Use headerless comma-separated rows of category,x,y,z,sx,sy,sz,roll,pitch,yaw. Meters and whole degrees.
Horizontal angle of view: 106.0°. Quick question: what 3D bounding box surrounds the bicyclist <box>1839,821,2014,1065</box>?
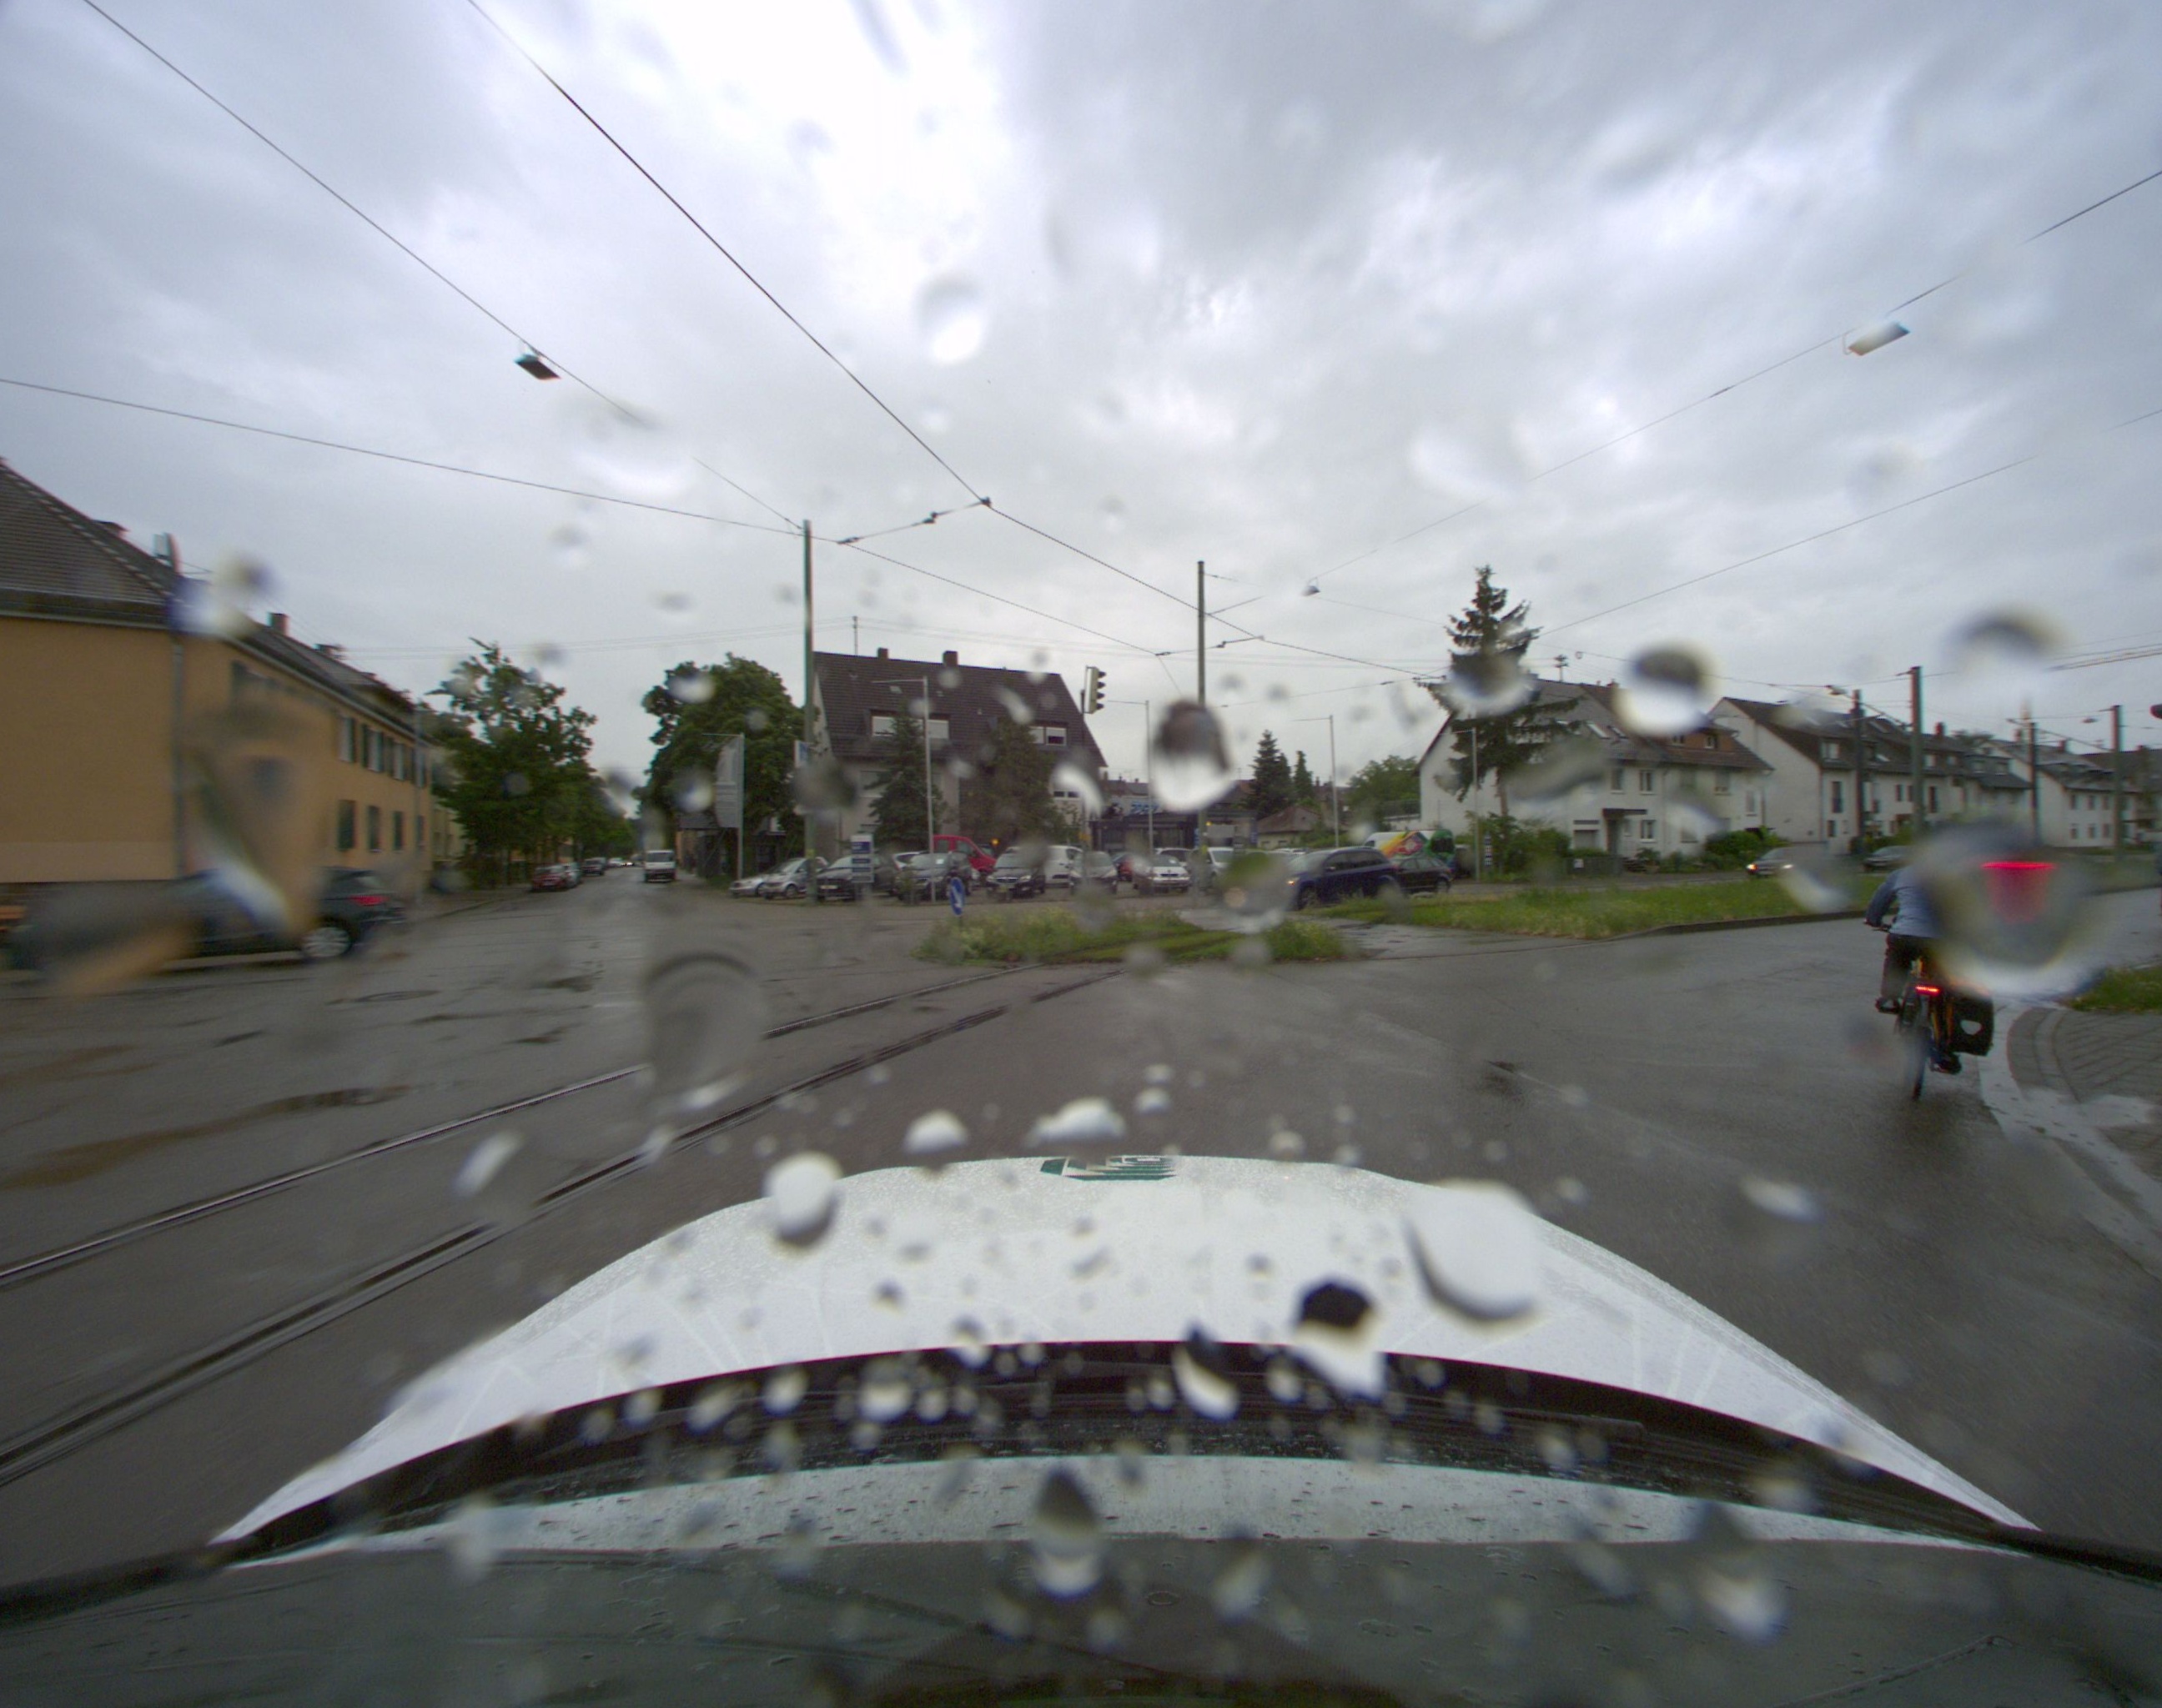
bicyclist,5.719,0.537,5.519,0.851,1.485,0.744,-2,0,-42

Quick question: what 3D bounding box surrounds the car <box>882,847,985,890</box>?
car,-6.007,0.592,33.562,3.961,1.598,1.996,-1,-1,-7

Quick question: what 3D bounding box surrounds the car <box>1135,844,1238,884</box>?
car,4.892,0.459,37.646,4.453,1.687,1.746,-1,-1,-24

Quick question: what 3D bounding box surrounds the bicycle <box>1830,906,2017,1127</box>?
bicycle,5.697,0.971,5.490,1.937,1.073,0.746,-2,0,-42

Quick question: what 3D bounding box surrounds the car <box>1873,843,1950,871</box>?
car,45.856,0.186,44.959,4.675,1.424,1.592,1,-1,-26

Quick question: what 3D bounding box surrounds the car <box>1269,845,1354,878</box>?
car,10.288,0.332,36.597,1.724,1.396,3.813,1,-1,-23

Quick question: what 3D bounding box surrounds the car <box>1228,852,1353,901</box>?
car,6.732,0.725,26.208,3.649,1.504,1.709,1,-1,-25

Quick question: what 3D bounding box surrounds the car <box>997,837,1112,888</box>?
car,-1.121,0.334,34.763,4.453,2.014,1.984,-1,-1,-24

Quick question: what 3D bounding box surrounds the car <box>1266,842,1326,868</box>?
car,13.814,0.048,52.189,1.771,1.580,4.474,-2,-1,42

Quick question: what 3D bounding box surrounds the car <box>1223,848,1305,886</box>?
car,7.931,0.576,35.572,1.724,1.573,3.590,1,-1,-22

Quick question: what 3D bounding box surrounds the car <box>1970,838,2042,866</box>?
car,49.906,-0.072,43.946,3.826,1.424,1.592,1,-1,-26

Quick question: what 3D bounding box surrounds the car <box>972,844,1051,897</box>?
car,-2.382,0.555,29.001,1.983,1.717,4.008,-2,0,7

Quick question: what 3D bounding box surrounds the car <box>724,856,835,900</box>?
car,-12.414,0.951,33.646,1.785,1.578,3.895,-2,0,44

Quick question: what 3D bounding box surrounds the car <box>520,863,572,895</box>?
car,-28.914,1.322,44.126,2.005,1.618,3.963,-1,-1,-28

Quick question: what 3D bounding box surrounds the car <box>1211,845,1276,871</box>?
car,9.868,0.250,49.624,1.792,1.498,3.963,1,-1,-29

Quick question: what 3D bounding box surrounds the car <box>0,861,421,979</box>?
car,-13.084,0.899,12.684,4.010,1.476,1.982,-1,0,-28

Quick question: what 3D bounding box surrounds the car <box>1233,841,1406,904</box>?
car,6.680,0.527,22.759,4.583,1.605,1.982,1,-1,-28

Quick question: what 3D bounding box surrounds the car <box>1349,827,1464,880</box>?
car,15.707,0.022,39.649,2.156,2.406,5.105,1,-1,-26

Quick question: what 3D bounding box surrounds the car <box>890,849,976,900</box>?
car,-5.031,0.647,28.190,1.792,1.578,3.879,-2,0,7

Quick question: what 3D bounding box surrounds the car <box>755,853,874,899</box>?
car,-10.112,0.792,31.106,1.785,1.578,3.895,-2,0,44

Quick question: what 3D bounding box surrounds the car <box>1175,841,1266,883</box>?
car,5.598,0.317,33.206,1.810,1.578,3.840,-2,0,-24

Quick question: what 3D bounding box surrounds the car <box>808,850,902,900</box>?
car,-7.791,0.678,28.477,1.792,1.578,3.879,-2,0,7

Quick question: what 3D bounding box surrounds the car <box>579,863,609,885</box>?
car,-44.768,1.823,74.988,2.004,2.014,3.965,1,-1,-26

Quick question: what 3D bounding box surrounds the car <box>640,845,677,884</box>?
car,-29.609,0.742,57.010,2.165,2.573,4.095,1,-1,-28

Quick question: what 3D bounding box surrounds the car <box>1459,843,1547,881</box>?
car,21.270,0.370,41.030,3.903,1.564,1.983,-4,2,-27

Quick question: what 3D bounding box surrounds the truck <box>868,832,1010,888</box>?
truck,-6.249,0.253,36.446,6.076,2.272,1.995,-1,-1,-7

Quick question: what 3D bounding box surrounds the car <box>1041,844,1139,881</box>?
car,0.462,0.430,40.500,4.453,1.687,1.984,-1,-1,-24

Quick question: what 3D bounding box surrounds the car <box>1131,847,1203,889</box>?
car,3.260,0.538,31.546,1.827,1.504,4.046,1,-1,-8

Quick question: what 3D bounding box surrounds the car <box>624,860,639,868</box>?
car,-91.554,2.064,165.939,1.844,1.697,3.983,2,-1,-43

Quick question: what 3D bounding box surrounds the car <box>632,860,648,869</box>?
car,-87.602,2.053,161.891,1.844,1.697,3.983,2,-1,-43

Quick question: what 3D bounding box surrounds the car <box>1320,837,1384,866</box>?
car,15.777,-0.134,47.319,1.841,1.580,4.426,-2,-1,42

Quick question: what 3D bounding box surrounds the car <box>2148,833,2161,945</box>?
car,15.654,0.435,9.109,4.123,1.476,1.816,-1,0,34

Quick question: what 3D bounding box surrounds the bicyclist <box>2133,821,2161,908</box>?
bicyclist,19.760,0.190,14.674,0.916,1.558,0.826,0,-2,-29

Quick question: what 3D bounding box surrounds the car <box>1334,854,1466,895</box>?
car,11.080,0.715,28.240,4.394,1.339,1.709,1,-1,-24

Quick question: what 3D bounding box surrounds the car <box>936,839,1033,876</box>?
car,-4.817,0.177,40.706,4.453,1.687,1.984,-1,-1,-24

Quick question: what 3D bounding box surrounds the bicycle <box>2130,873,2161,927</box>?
bicycle,19.810,0.816,14.671,1.991,0.912,0.816,0,-1,-29

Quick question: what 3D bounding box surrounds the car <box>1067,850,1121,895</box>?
car,0.544,0.678,30.035,1.820,1.504,4.060,1,-1,3

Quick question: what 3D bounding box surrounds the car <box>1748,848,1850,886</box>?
car,29.878,0.566,33.894,4.006,1.486,1.728,1,-1,-25

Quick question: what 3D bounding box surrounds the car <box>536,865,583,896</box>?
car,-30.805,1.529,48.182,2.005,1.750,3.963,-1,-1,-28

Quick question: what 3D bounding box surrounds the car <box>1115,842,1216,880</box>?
car,4.120,0.340,39.611,4.453,1.687,1.984,-1,-1,-24

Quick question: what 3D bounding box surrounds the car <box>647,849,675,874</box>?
car,-35.799,0.647,69.557,2.004,2.014,3.965,1,-1,-26
